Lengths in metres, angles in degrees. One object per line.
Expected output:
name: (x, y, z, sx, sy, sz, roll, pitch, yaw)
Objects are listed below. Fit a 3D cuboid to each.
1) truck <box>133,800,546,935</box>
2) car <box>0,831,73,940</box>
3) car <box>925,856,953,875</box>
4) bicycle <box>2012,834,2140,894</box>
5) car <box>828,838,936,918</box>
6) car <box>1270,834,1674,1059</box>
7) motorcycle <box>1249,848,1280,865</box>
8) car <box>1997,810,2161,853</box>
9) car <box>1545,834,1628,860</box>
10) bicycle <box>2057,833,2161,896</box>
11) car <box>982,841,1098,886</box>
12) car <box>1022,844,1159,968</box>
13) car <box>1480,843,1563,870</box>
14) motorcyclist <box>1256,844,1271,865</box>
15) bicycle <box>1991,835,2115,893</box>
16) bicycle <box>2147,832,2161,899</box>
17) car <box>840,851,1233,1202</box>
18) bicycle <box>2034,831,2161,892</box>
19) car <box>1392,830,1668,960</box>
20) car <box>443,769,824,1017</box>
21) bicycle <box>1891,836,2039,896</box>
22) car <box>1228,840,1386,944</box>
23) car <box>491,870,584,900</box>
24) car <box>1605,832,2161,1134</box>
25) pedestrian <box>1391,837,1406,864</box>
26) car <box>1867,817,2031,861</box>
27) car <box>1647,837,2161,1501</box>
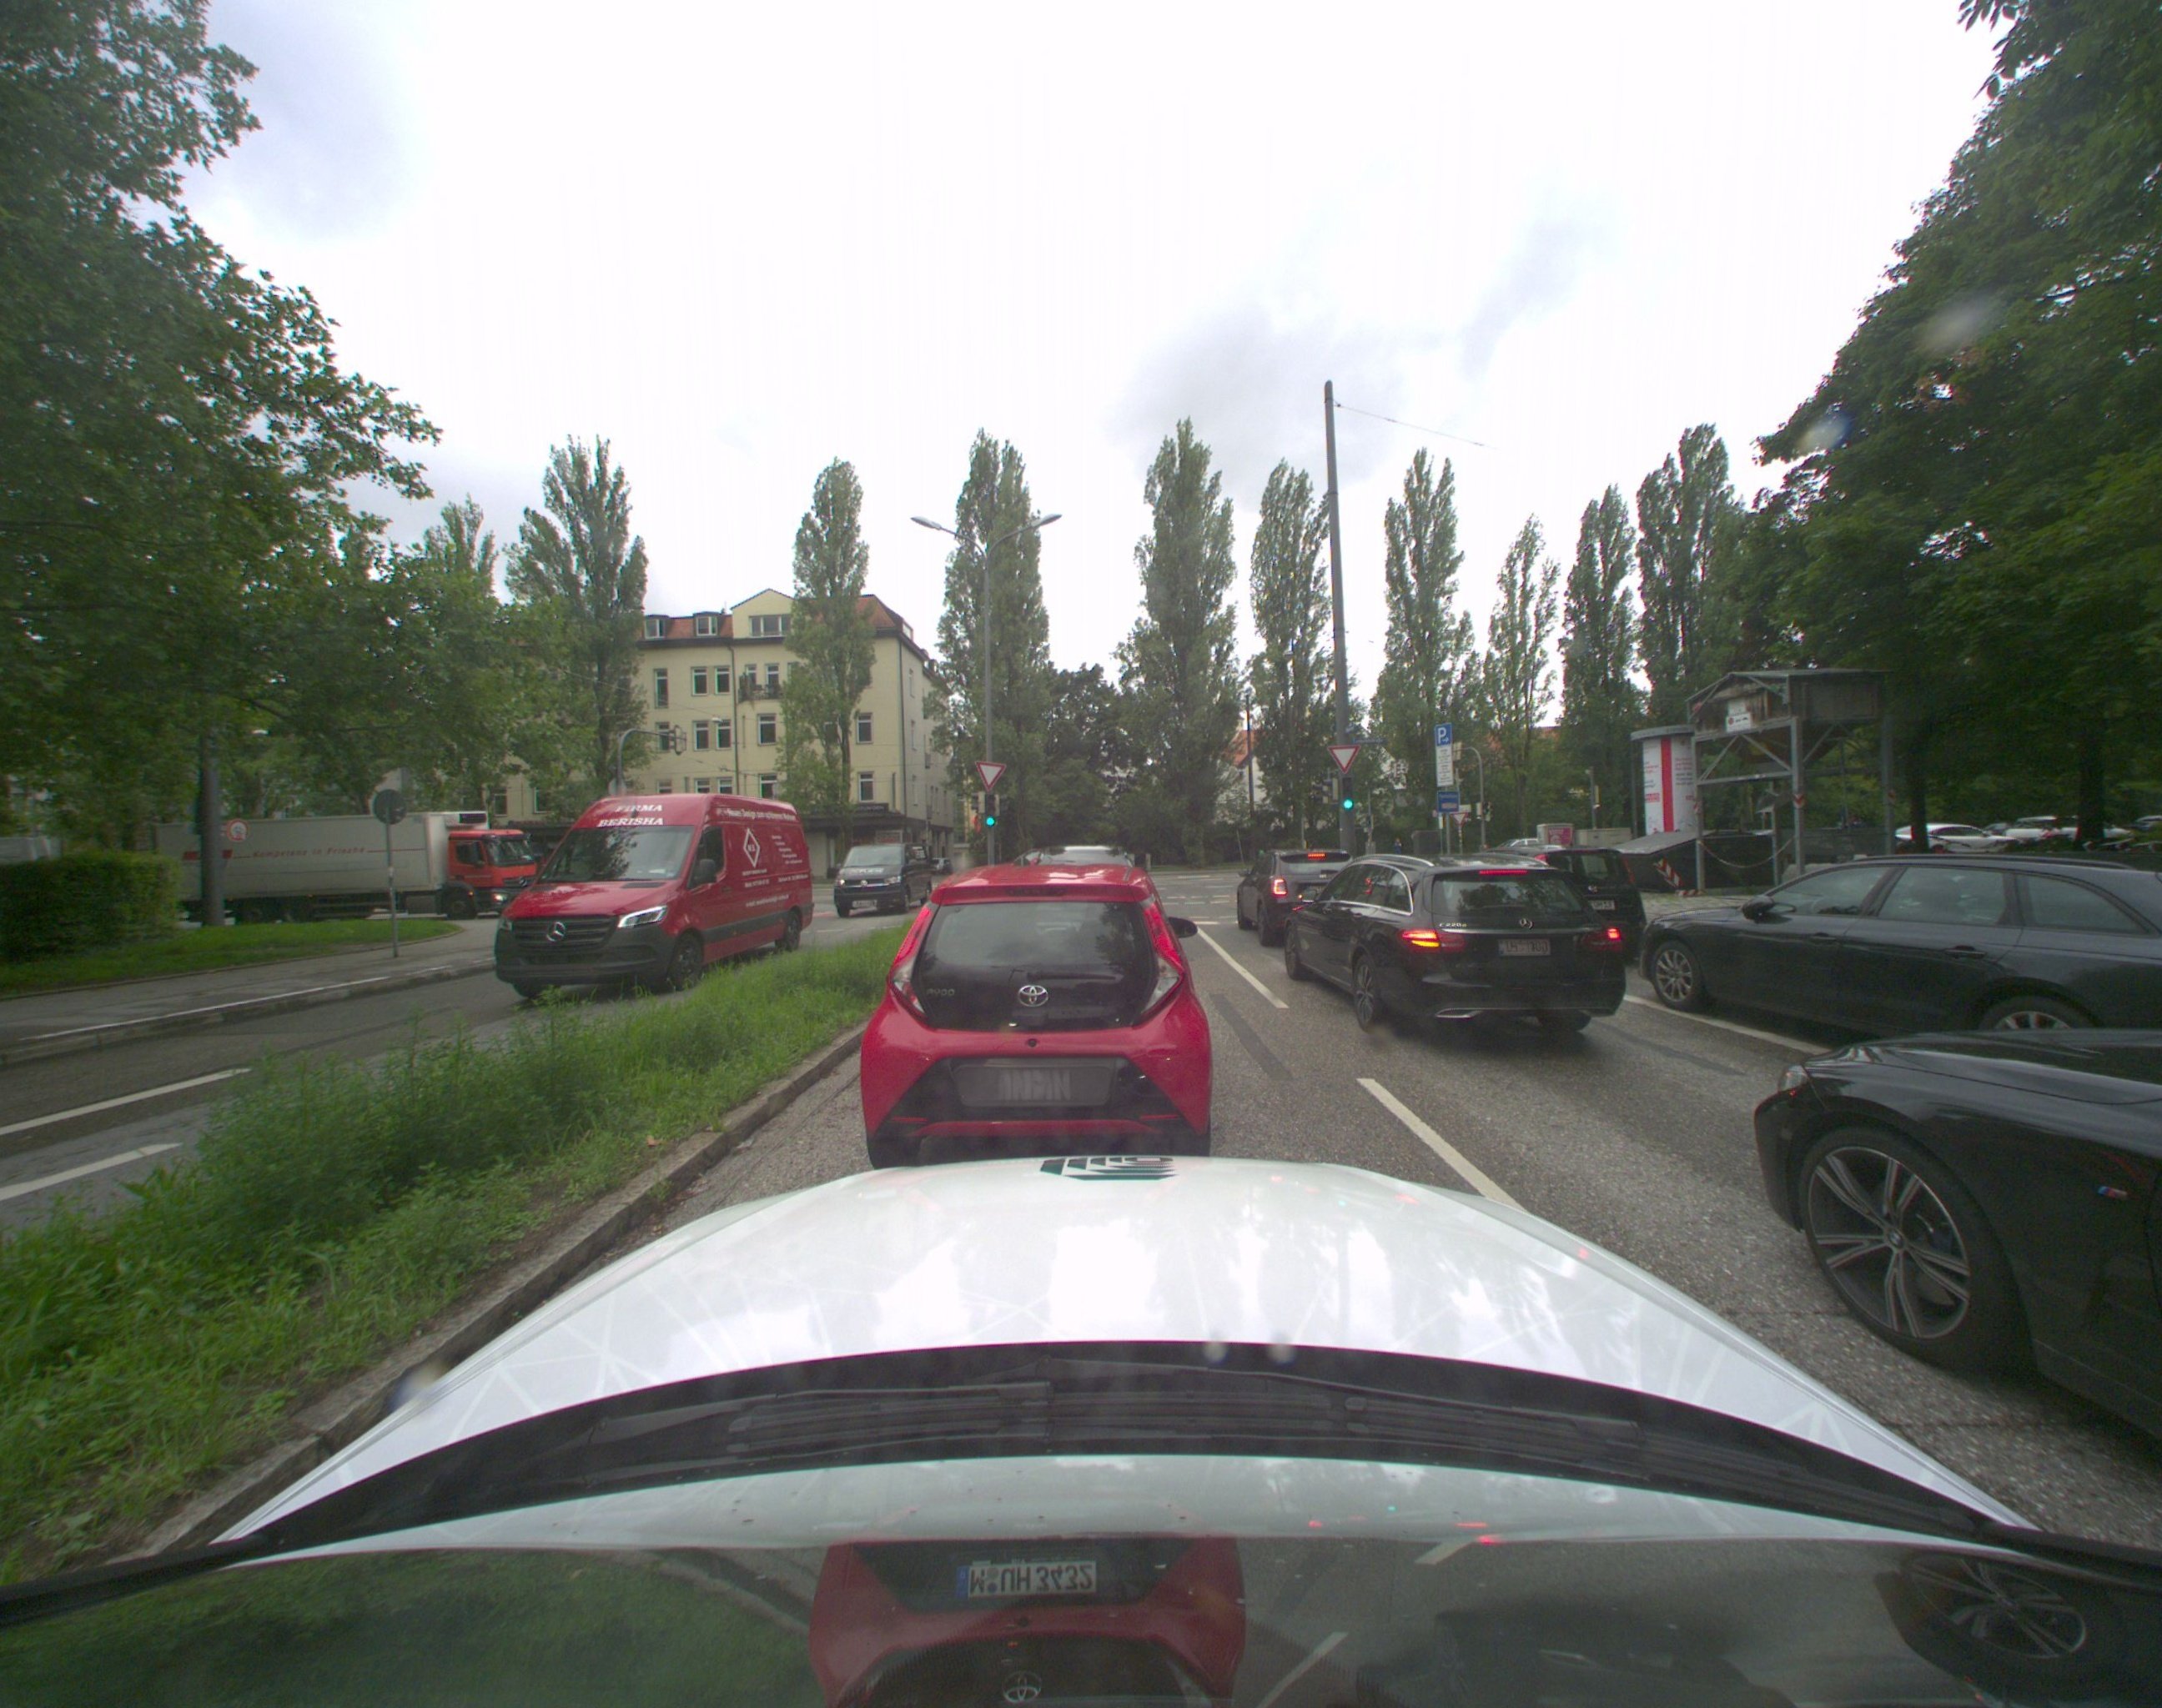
truck: (-25.372, 0.417, 28.238, 11.635, 3.980, 2.749, -2, 1, 1)
car: (-22.393, 0.820, 14.906, 1.975, 2.013, 4.658, -1, 6, 43)
car: (-12.140, 0.965, 69.679, 1.721, 1.442, 3.997, -2, 0, -2)
bicycle: (15.281, 0.154, 12.526, 1.400, 0.894, 0.314, 0, -1, 8)
car: (-5.557, 0.602, 23.388, 1.851, 1.990, 4.704, -2, 0, 0)
car: (3.249, 0.633, 7.995, 1.856, 1.549, 4.706, 0, 0, 2)
motorcycle: (12.358, 0.182, 54.935, 2.012, 1.169, 0.632, 0, -1, 7)
car: (37.147, -0.814, 30.323, 4.351, 1.407, 1.729, -2, 0, -4)
car: (32.562, -0.421, 52.557, 4.231, 1.486, 1.786, -2, 0, 0)
bicycle: (15.172, 0.149, 11.837, 1.400, 0.894, 0.314, 0, -1, 8)
car: (-1.737, 0.375, 35.846, 2.083, 1.637, 4.970, -2, 2, 43)
car: (0.246, 0.665, 12.812, 1.728, 1.549, 4.580, -2, 0, 3)
car: (28.057, 0.155, 51.924, 4.324, 1.486, 1.786, -2, 0, 0)
motorcyclist: (12.306, 0.032, 54.944, 0.874, 1.443, 0.622, 0, -1, 7)
bicycle: (15.340, 0.157, 12.865, 1.400, 0.894, 0.314, 0, -1, 8)
bicycle: (15.242, 0.153, 11.100, 1.409, 0.894, 0.312, 0, -1, -13)
car: (-0.103, 0.731, 5.147, 1.622, 1.440, 3.379, -2, 0, 3)
bicycle: (15.230, 0.120, 12.178, 1.400, 0.894, 0.314, 0, -1, 8)
car: (6.431, 0.503, 12.366, 1.823, 1.549, 4.558, -2, 0, 3)
car: (-5.810, 0.361, 11.886, 2.097, 2.589, 6.080, -3, 1, -1)
bicycle: (15.482, 0.206, 14.273, 2.232, 1.016, 0.628, 0, -1, -10)
car: (3.741, 0.580, 14.199, 1.773, 1.486, 4.003, -2, 0, 3)
car: (-33.037, 1.881, 49.613, 4.440, 1.612, 1.727, -2, 0, 1)
car: (6.205, 0.615, 5.932, 1.762, 1.461, 4.641, -2, 0, 0)
pedestrian: (20.257, -0.224, 51.976, 0.693, 1.662, 0.555, -1, -1, 42)
car: (31.738, -0.541, 29.848, 4.351, 1.407, 1.729, -2, 0, -4)
car: (3.135, 0.674, 0.947, 1.717, 1.389, 4.801, -2, 0, 2)
